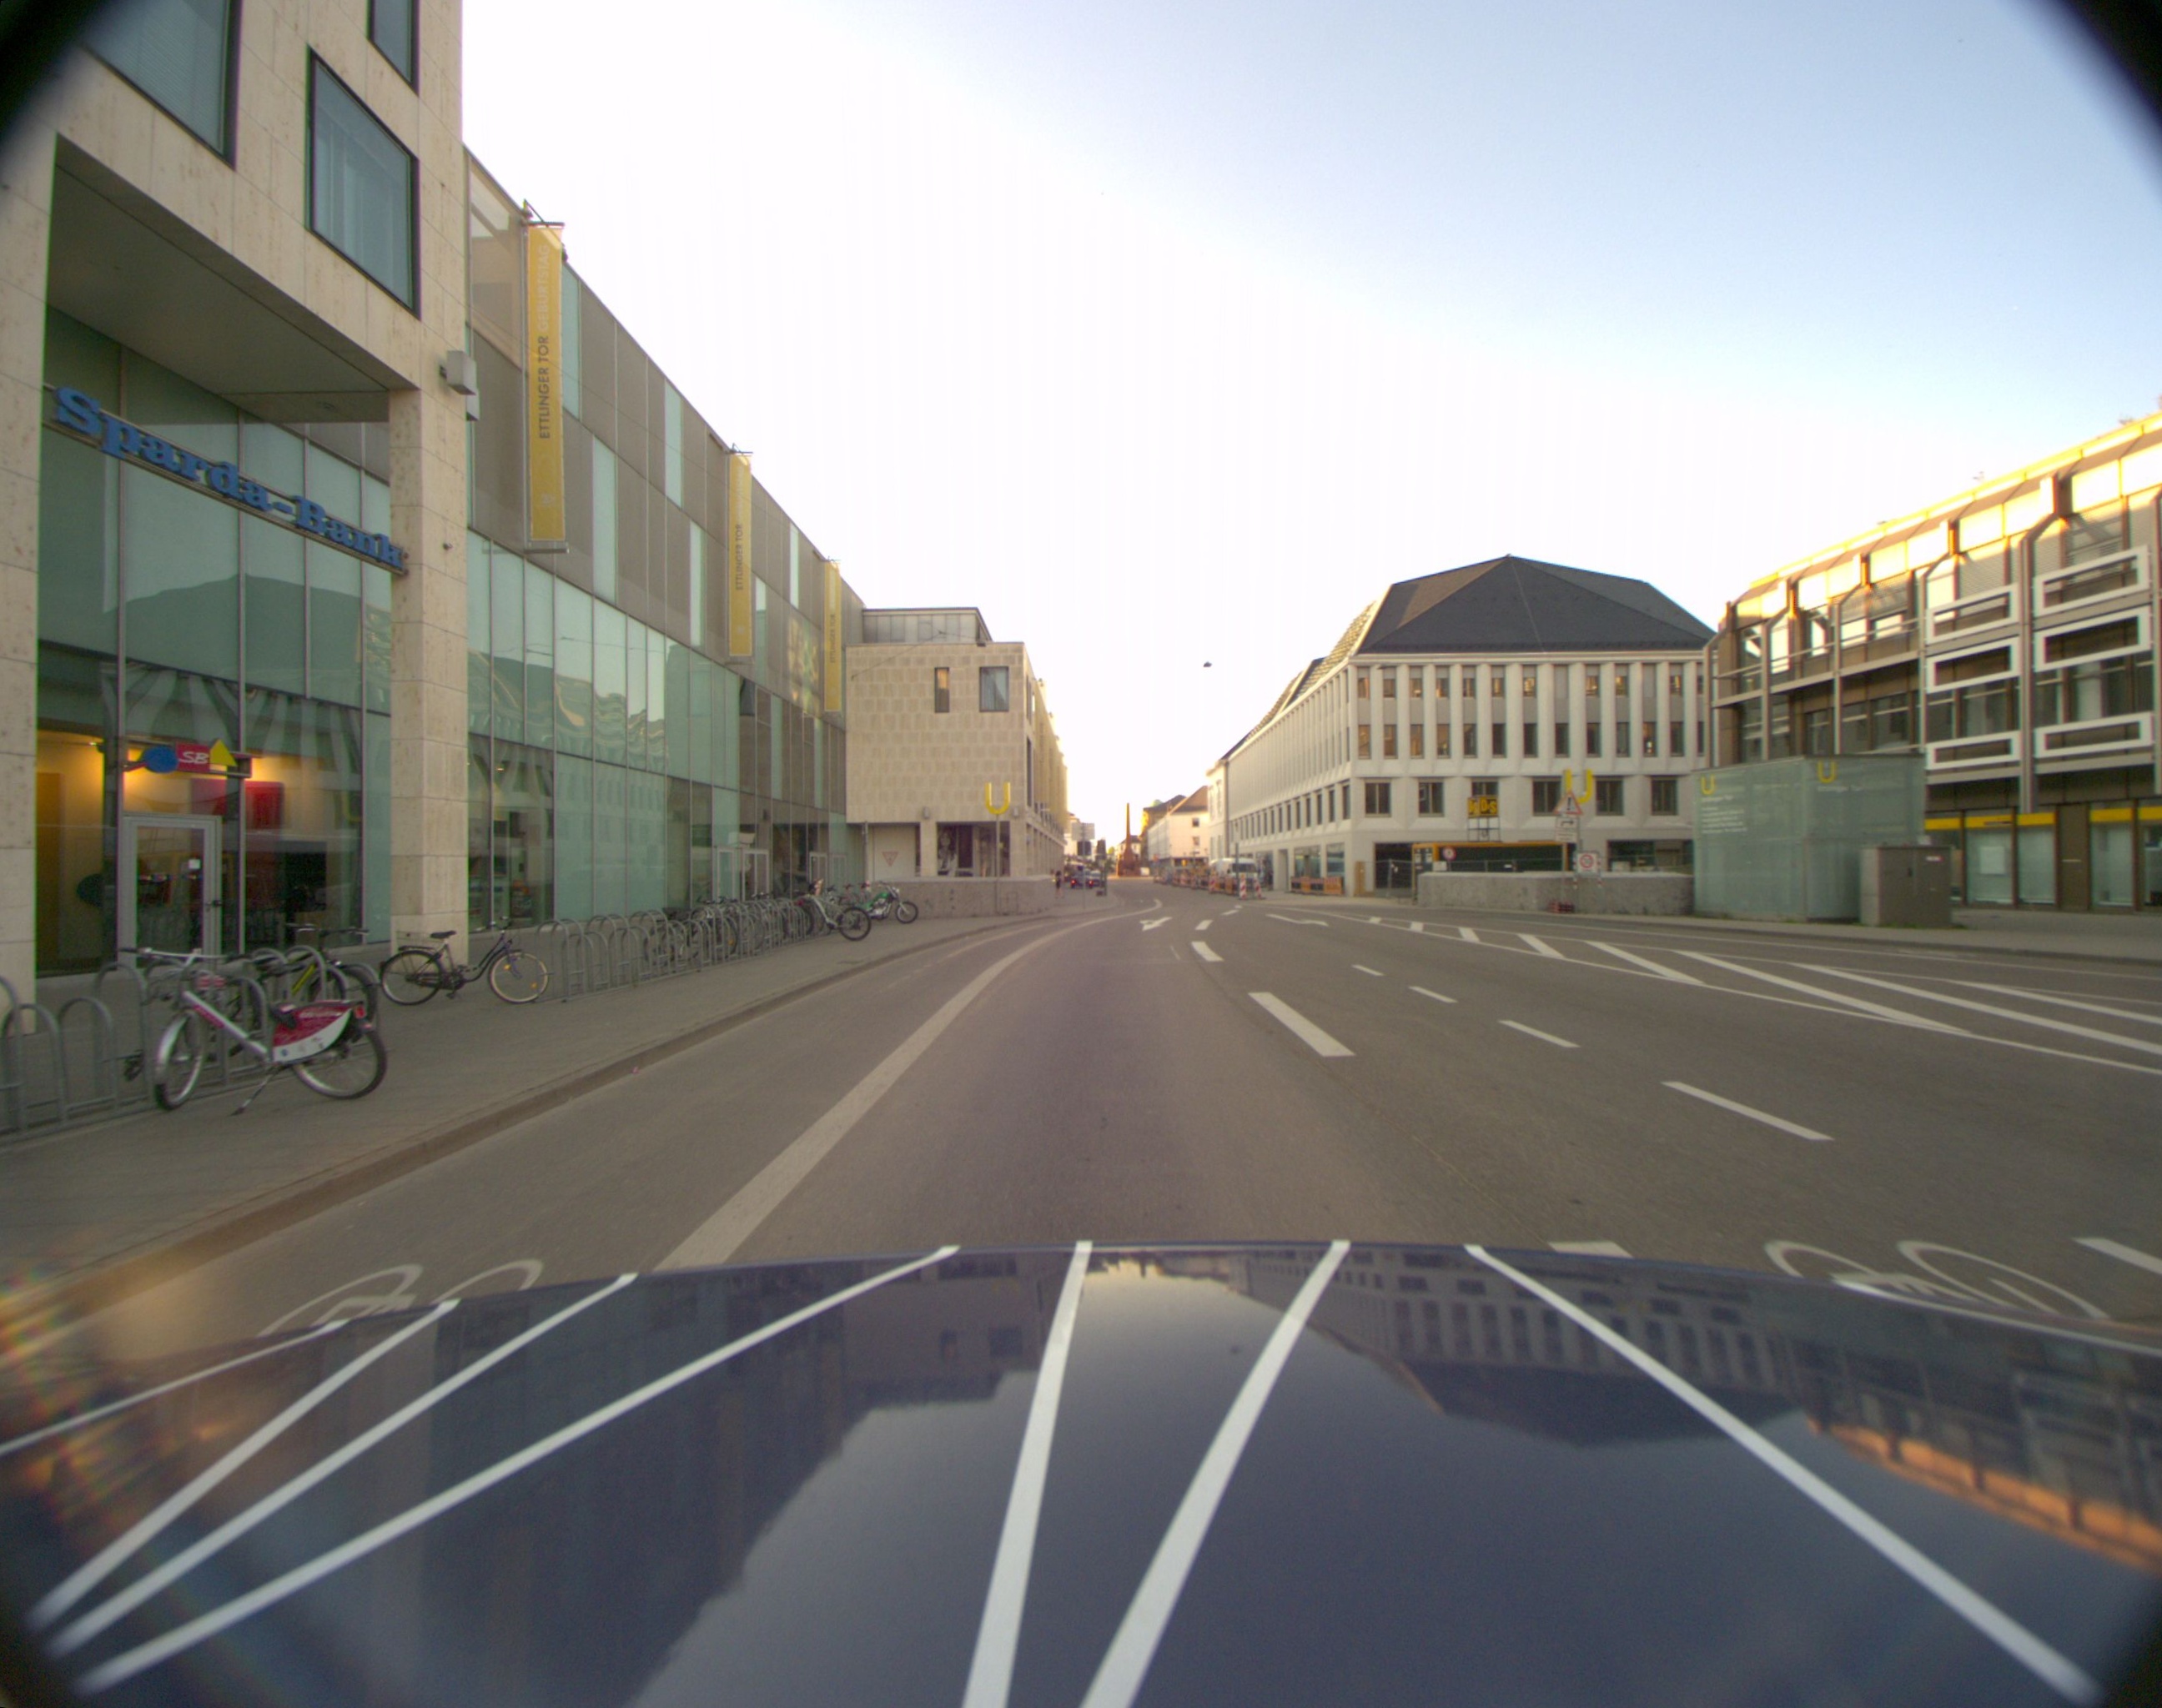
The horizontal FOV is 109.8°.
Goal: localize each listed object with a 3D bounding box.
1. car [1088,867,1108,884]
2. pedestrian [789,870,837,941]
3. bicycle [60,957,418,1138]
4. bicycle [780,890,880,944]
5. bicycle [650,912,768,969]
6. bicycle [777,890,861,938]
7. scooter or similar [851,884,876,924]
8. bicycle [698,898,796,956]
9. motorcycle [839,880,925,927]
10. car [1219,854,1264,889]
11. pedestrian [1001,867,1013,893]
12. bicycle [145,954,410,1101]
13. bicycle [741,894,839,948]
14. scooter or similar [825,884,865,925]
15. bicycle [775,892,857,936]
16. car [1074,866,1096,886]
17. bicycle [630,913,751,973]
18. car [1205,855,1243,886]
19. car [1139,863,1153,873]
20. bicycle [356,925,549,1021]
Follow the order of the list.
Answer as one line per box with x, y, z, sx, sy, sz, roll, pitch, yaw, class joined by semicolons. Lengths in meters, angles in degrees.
1.633;2.103;74.329;1.799;1.481;4.193;3;0;1;car
-6.721;1.276;19.053;0.837;1.725;0.820;0;0;9;pedestrian
-5.598;1.277;5.090;1.902;1.041;0.571;-3;-1;6;bicycle
-5.435;1.363;16.473;1.992;1.123;0.571;-1;0;6;bicycle
-6.496;1.498;13.307;1.812;0.931;0.516;0;0;0;bicycle
-6.659;1.529;19.357;1.992;1.172;0.517;-1;0;6;bicycle
-6.963;1.595;24.342;0.398;1.249;0.870;-1;0;12;scooter or similar
-6.712;1.454;15.290;1.768;1.123;0.516;0;0;4;bicycle
-5.834;1.448;22.393;2.304;1.325;0.907;-1;0;-1;motorcycle
11.985;1.304;57.185;2.179;2.455;6.000;-1;-1;1;car
-4.494;1.556;46.089;0.635;1.558;0.775;0;-2;0;pedestrian
-6.854;1.469;6.506;1.820;1.093;0.601;-3;-1;9;bicycle
-6.649;1.527;17.385;1.992;1.123;0.556;-3;-1;6;bicycle
-7.573;1.615;24.384;1.119;1.249;0.398;-1;0;-37;scooter or similar
-6.947;1.561;19.952;1.992;1.123;0.517;-1;0;6;bicycle
0.352;1.865;65.899;1.772;1.628;4.058;3;0;1;car
-6.497;1.481;12.670;1.743;0.931;0.516;0;0;0;bicycle
12.116;1.393;64.639;2.179;2.455;6.000;-1;-1;1;car
12.628;2.757;147.760;2.021;1.815;4.458;-1;-1;-5;car
-7.523;1.412;9.160;1.708;1.017;0.600;0;0;-10;bicycle
